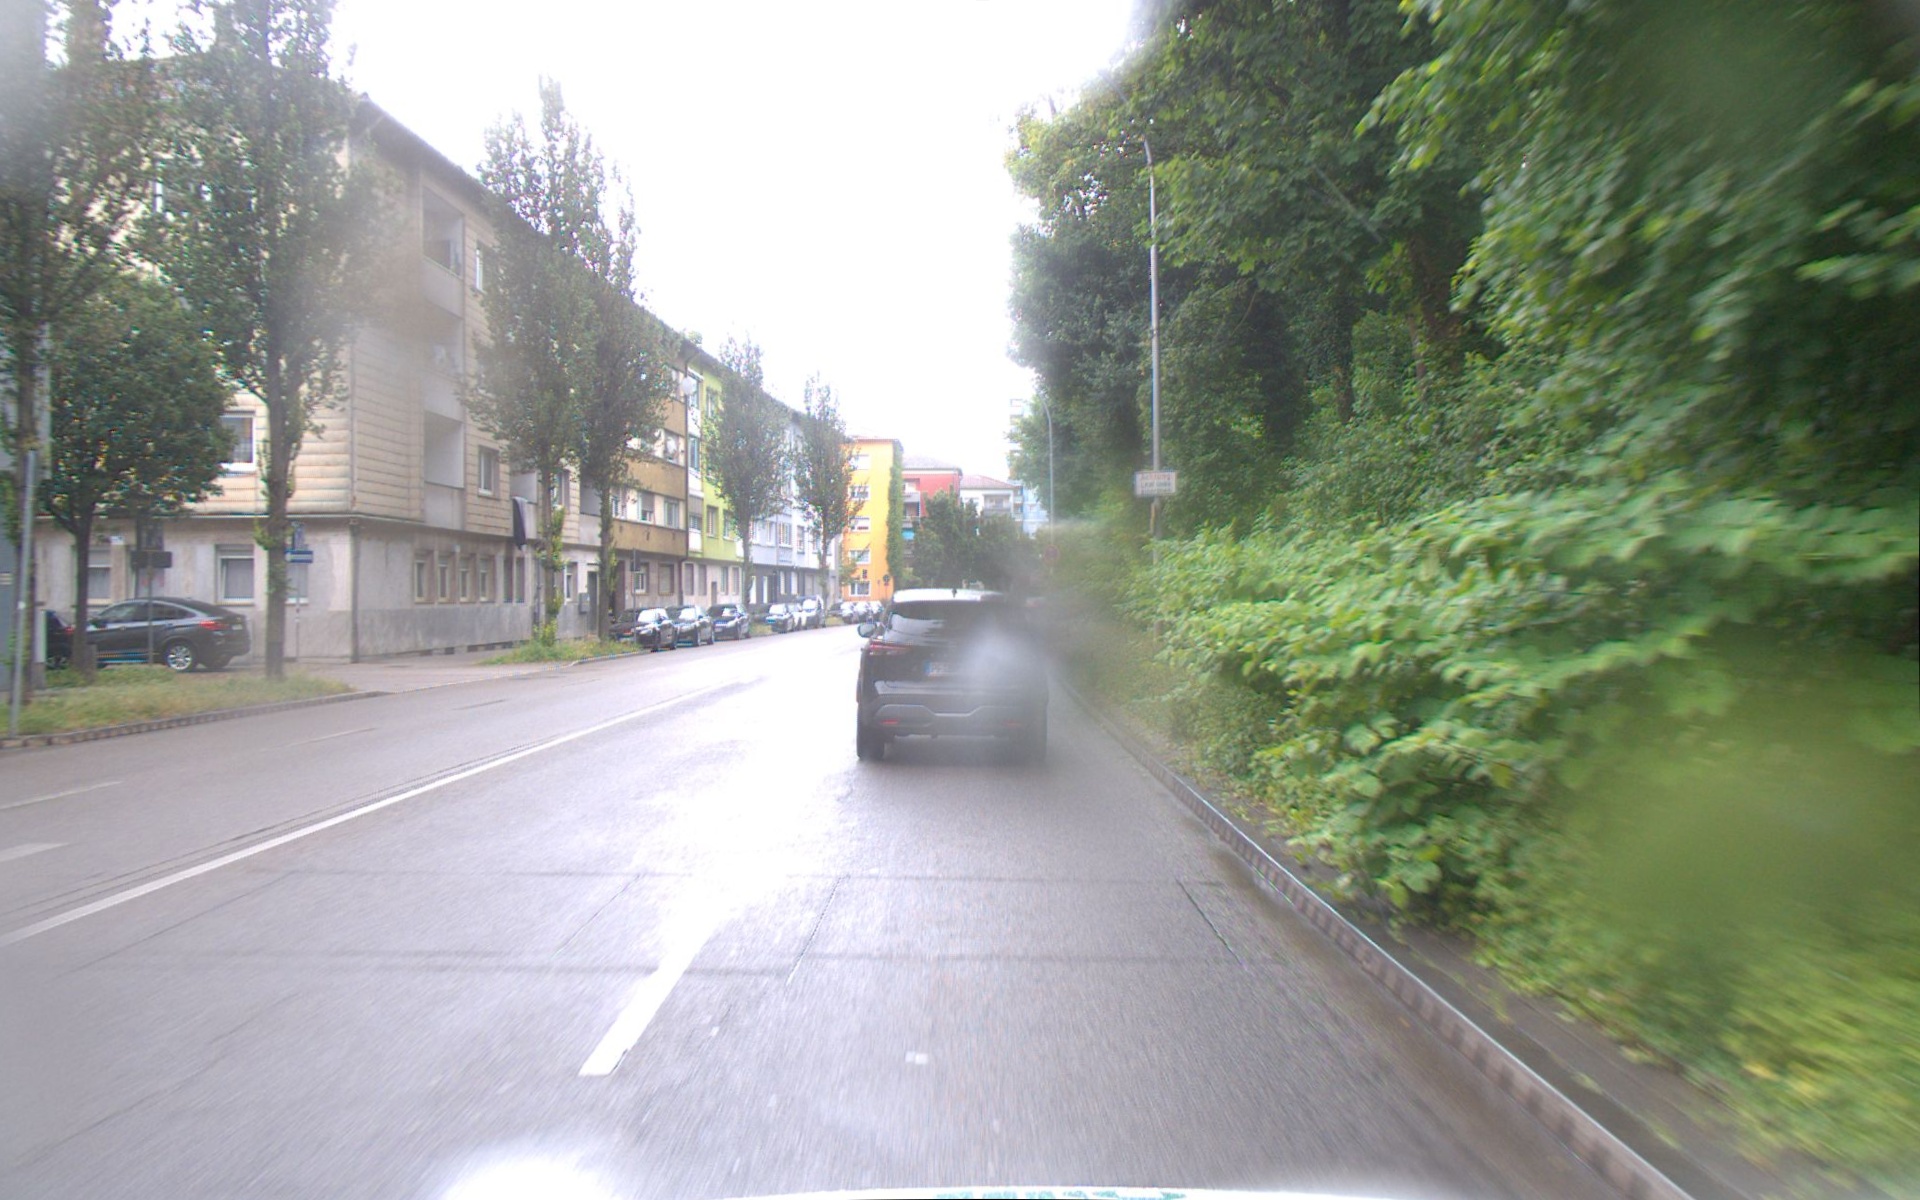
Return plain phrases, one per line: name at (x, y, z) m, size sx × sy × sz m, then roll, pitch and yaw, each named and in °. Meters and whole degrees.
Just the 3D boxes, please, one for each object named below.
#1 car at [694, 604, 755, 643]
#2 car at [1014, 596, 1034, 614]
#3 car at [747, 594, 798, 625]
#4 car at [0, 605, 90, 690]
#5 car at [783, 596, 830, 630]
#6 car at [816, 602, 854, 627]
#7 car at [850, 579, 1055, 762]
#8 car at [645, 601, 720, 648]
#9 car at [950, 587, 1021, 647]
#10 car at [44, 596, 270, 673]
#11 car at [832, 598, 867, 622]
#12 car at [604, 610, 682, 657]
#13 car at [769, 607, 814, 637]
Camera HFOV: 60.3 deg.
car at (-9.817, 0.960, 69.337) m, size 1.682 × 1.514 × 4.516 m, roll -2°, pitch 0°, yaw 2°
car at (5.671, 0.452, 145.736) m, size 1.671 × 1.504 × 3.682 m, roll -1°, pitch 0°, yaw 3°
car at (-9.120, 0.442, 80.857) m, size 1.780 × 1.396 × 4.681 m, roll -2°, pitch 0°, yaw 1°
car at (-18.339, 0.902, 30.254) m, size 1.685 × 1.520 × 3.972 m, roll -3°, pitch -2°, yaw 44°
car at (-8.549, 0.727, 92.425) m, size 1.851 × 1.797 × 4.603 m, roll -2°, pitch 0°, yaw 4°
car at (-7.912, 0.901, 105.185) m, size 1.653 × 1.381 × 4.581 m, roll -4°, pitch 0°, yaw 4°
car at (-0.084, 0.617, 16.783) m, size 1.807 × 1.610 × 3.999 m, roll 1°, pitch 0°, yaw -1°
car at (-10.002, 0.857, 59.970) m, size 1.780 × 1.514 × 4.790 m, roll -2°, pitch 0°, yaw 1°
car at (0.822, 0.500, 50.820) m, size 1.847 × 1.741 × 4.002 m, roll 0°, pitch 0°, yaw 5°
car at (-17.858, 0.744, 36.900) m, size 4.063 × 1.606 × 1.927 m, roll -1°, pitch 1°, yaw 1°
car at (-7.355, 0.653, 110.600) m, size 1.645 × 1.474 × 4.278 m, roll -3°, pitch 0°, yaw 5°
car at (-10.269, 1.066, 53.850) m, size 1.592 × 1.411 × 3.990 m, roll -1°, pitch 0°, yaw 2°
car at (-8.805, 1.138, 86.640) m, size 1.645 × 1.400 × 4.002 m, roll -3°, pitch 0°, yaw 3°
